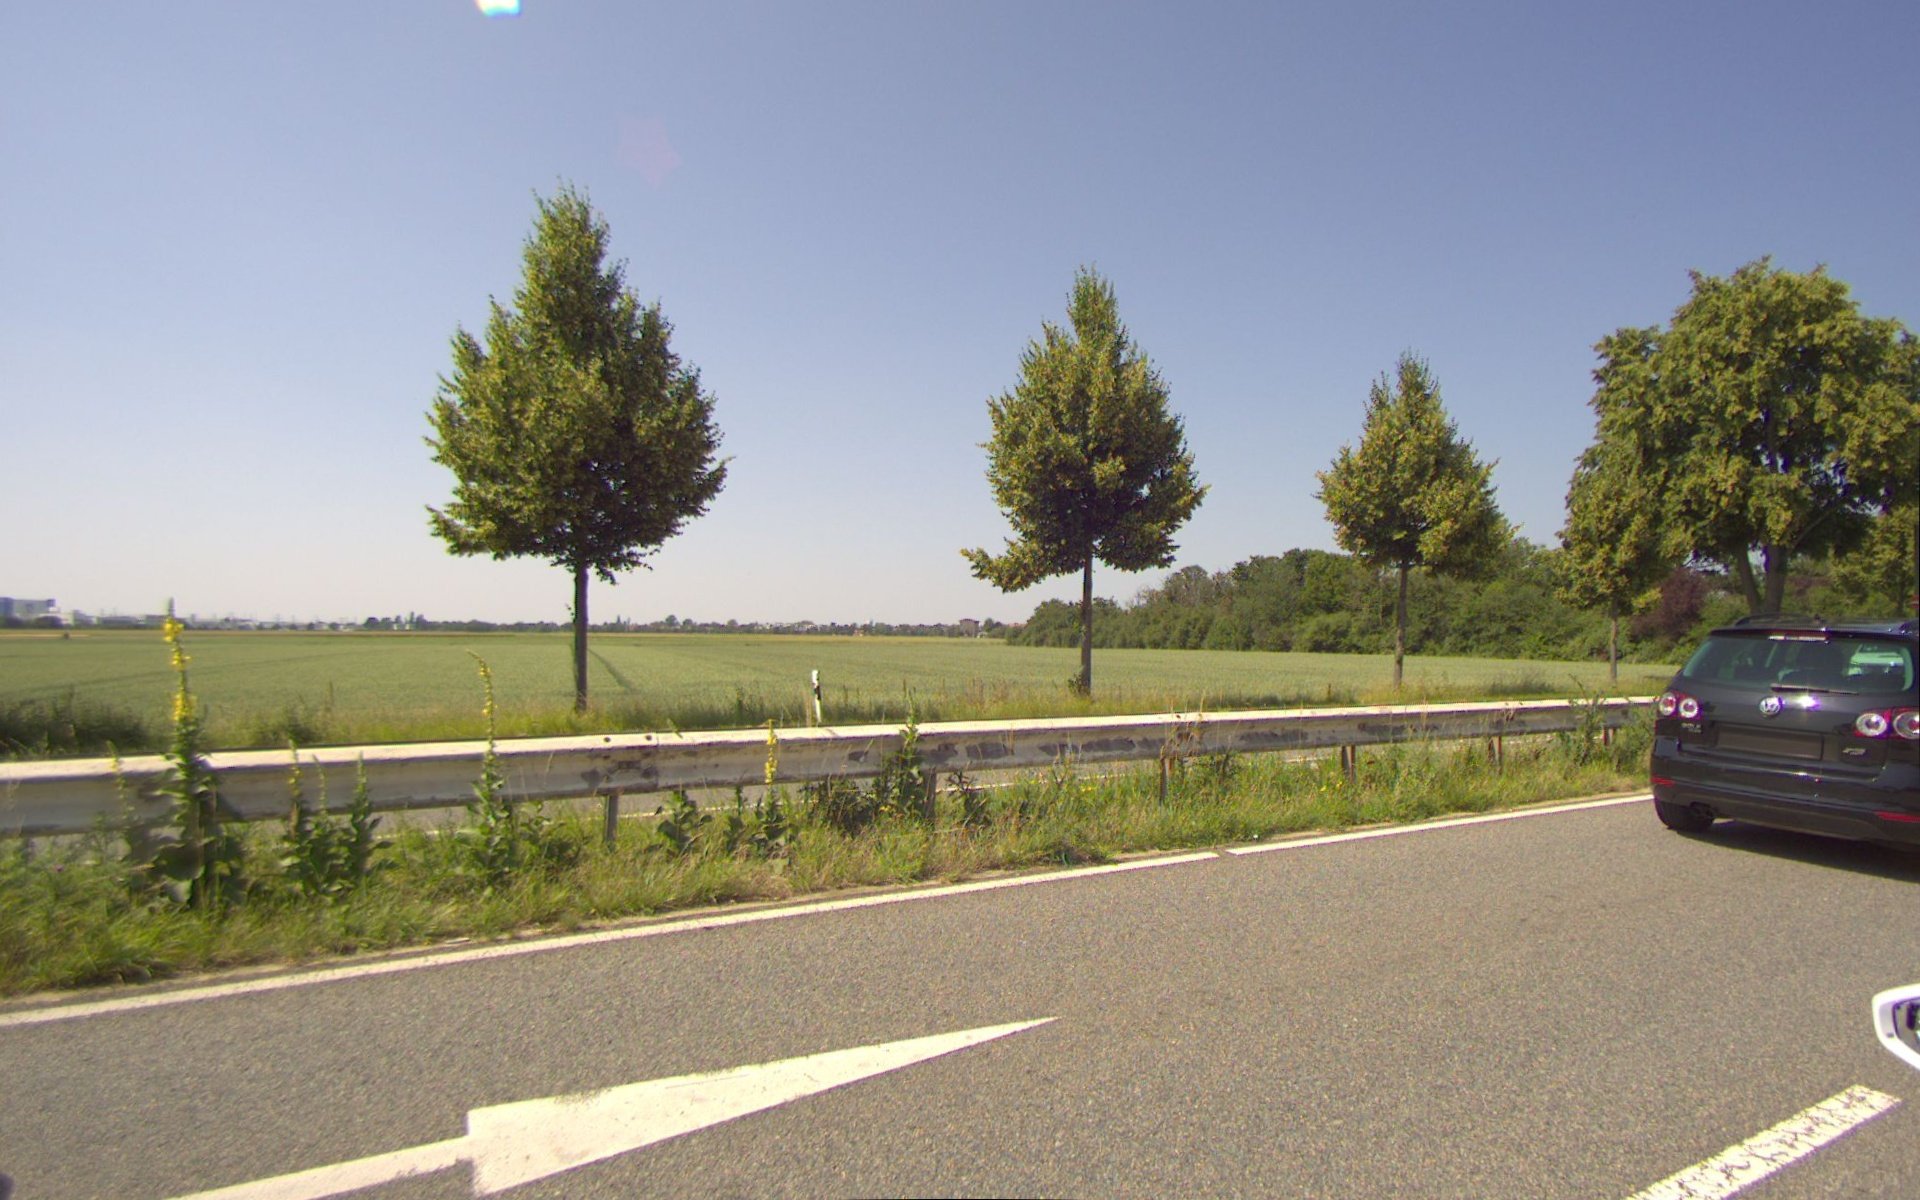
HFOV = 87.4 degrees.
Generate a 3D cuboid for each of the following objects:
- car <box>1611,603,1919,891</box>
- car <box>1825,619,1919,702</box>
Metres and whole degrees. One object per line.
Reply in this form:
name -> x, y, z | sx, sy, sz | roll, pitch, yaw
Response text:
car -> 6.665, 0.865, 7.230 | 3.845, 1.596, 1.716 | 1, 0, -29
car -> 25.019, 1.547, 26.409 | 4.958, 2.006, 1.984 | 1, -2, -31
